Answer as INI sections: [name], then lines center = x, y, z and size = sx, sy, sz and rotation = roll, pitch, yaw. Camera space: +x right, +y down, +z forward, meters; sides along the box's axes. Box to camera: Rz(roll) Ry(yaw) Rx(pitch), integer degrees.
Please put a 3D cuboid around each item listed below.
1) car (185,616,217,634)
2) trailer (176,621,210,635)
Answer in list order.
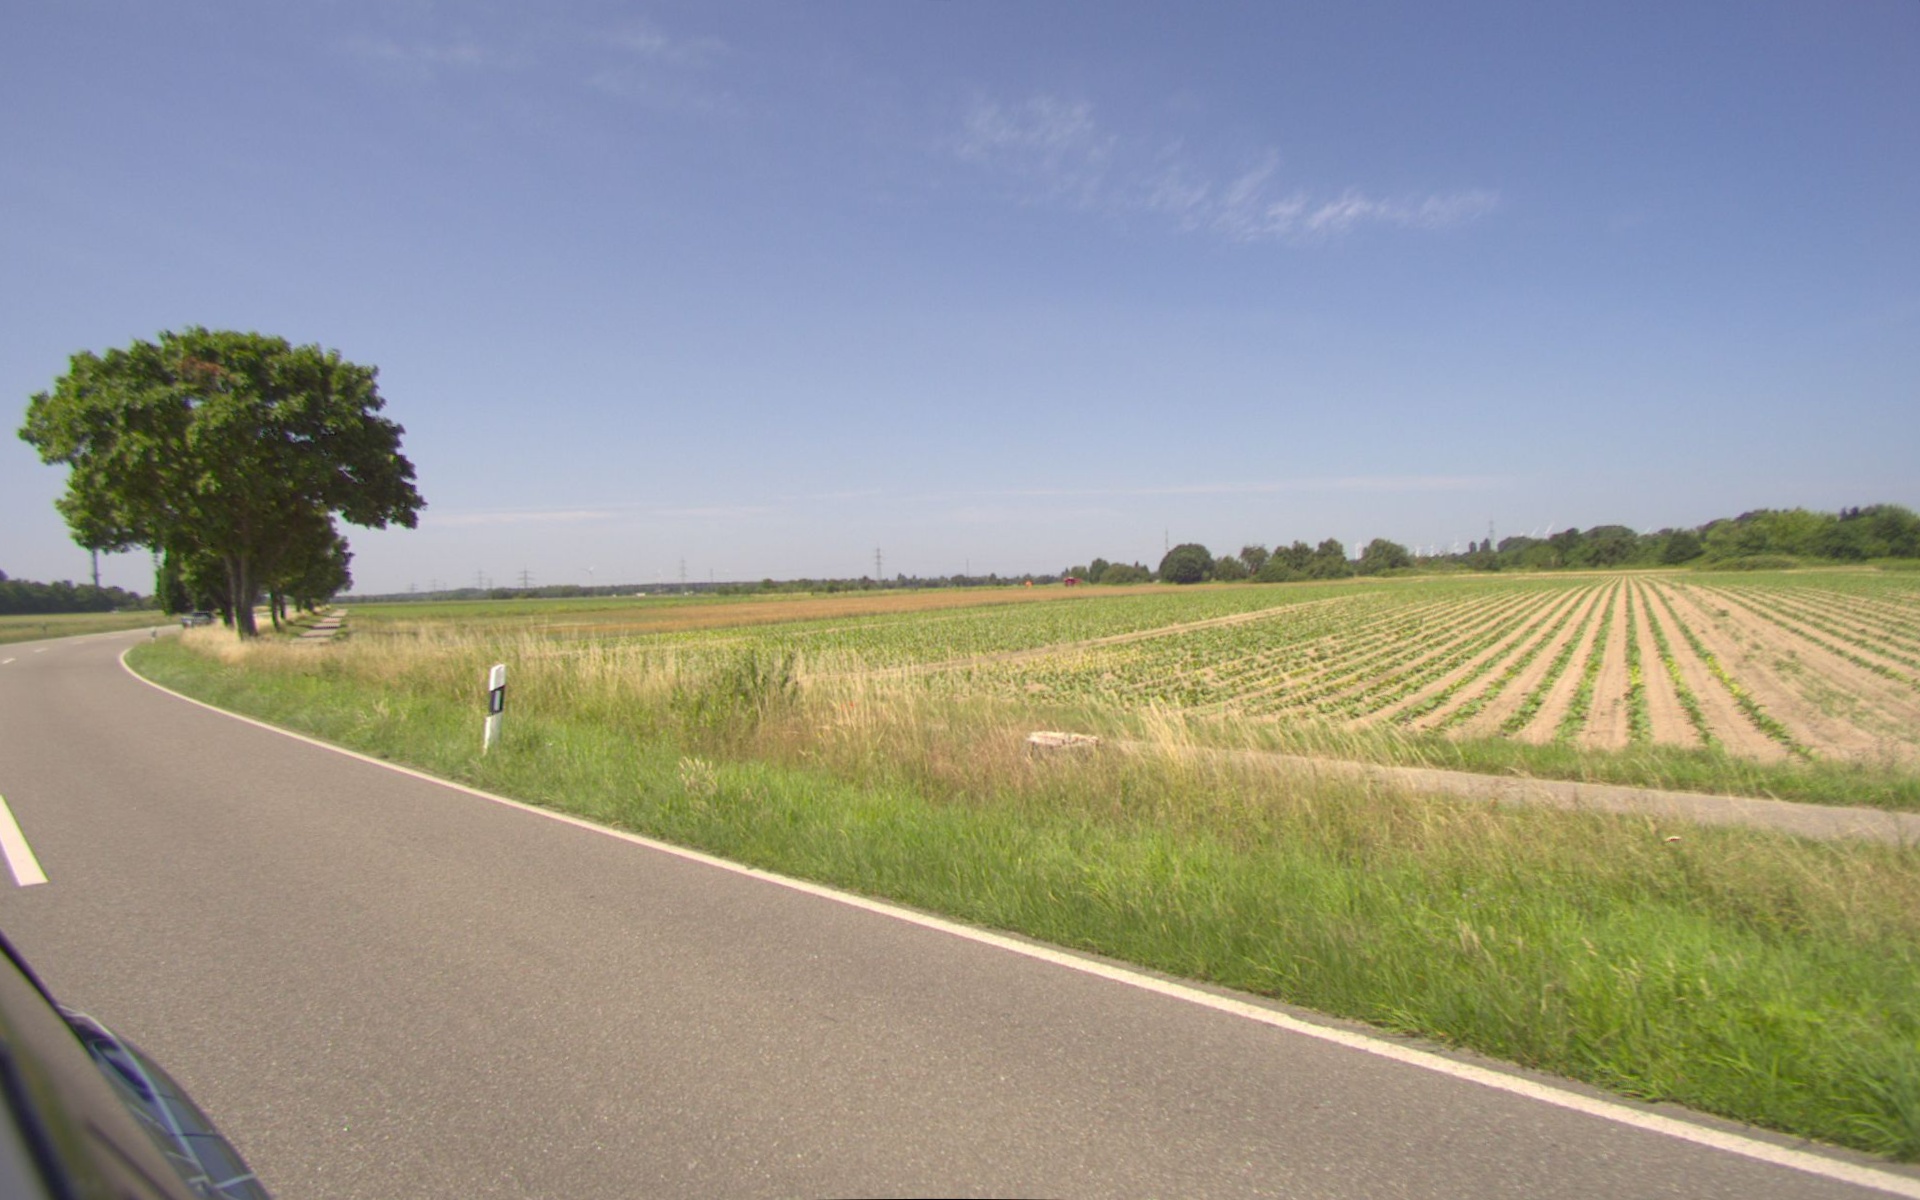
[car]
center = -64.215, 2.105, 85.670
size = 1.621, 1.440, 4.193
rotation = 1, -1, -29
[trailer]
center = -62.119, 2.250, 82.011
size = 1.600, 1.073, 4.132
rotation = 2, -2, -29
